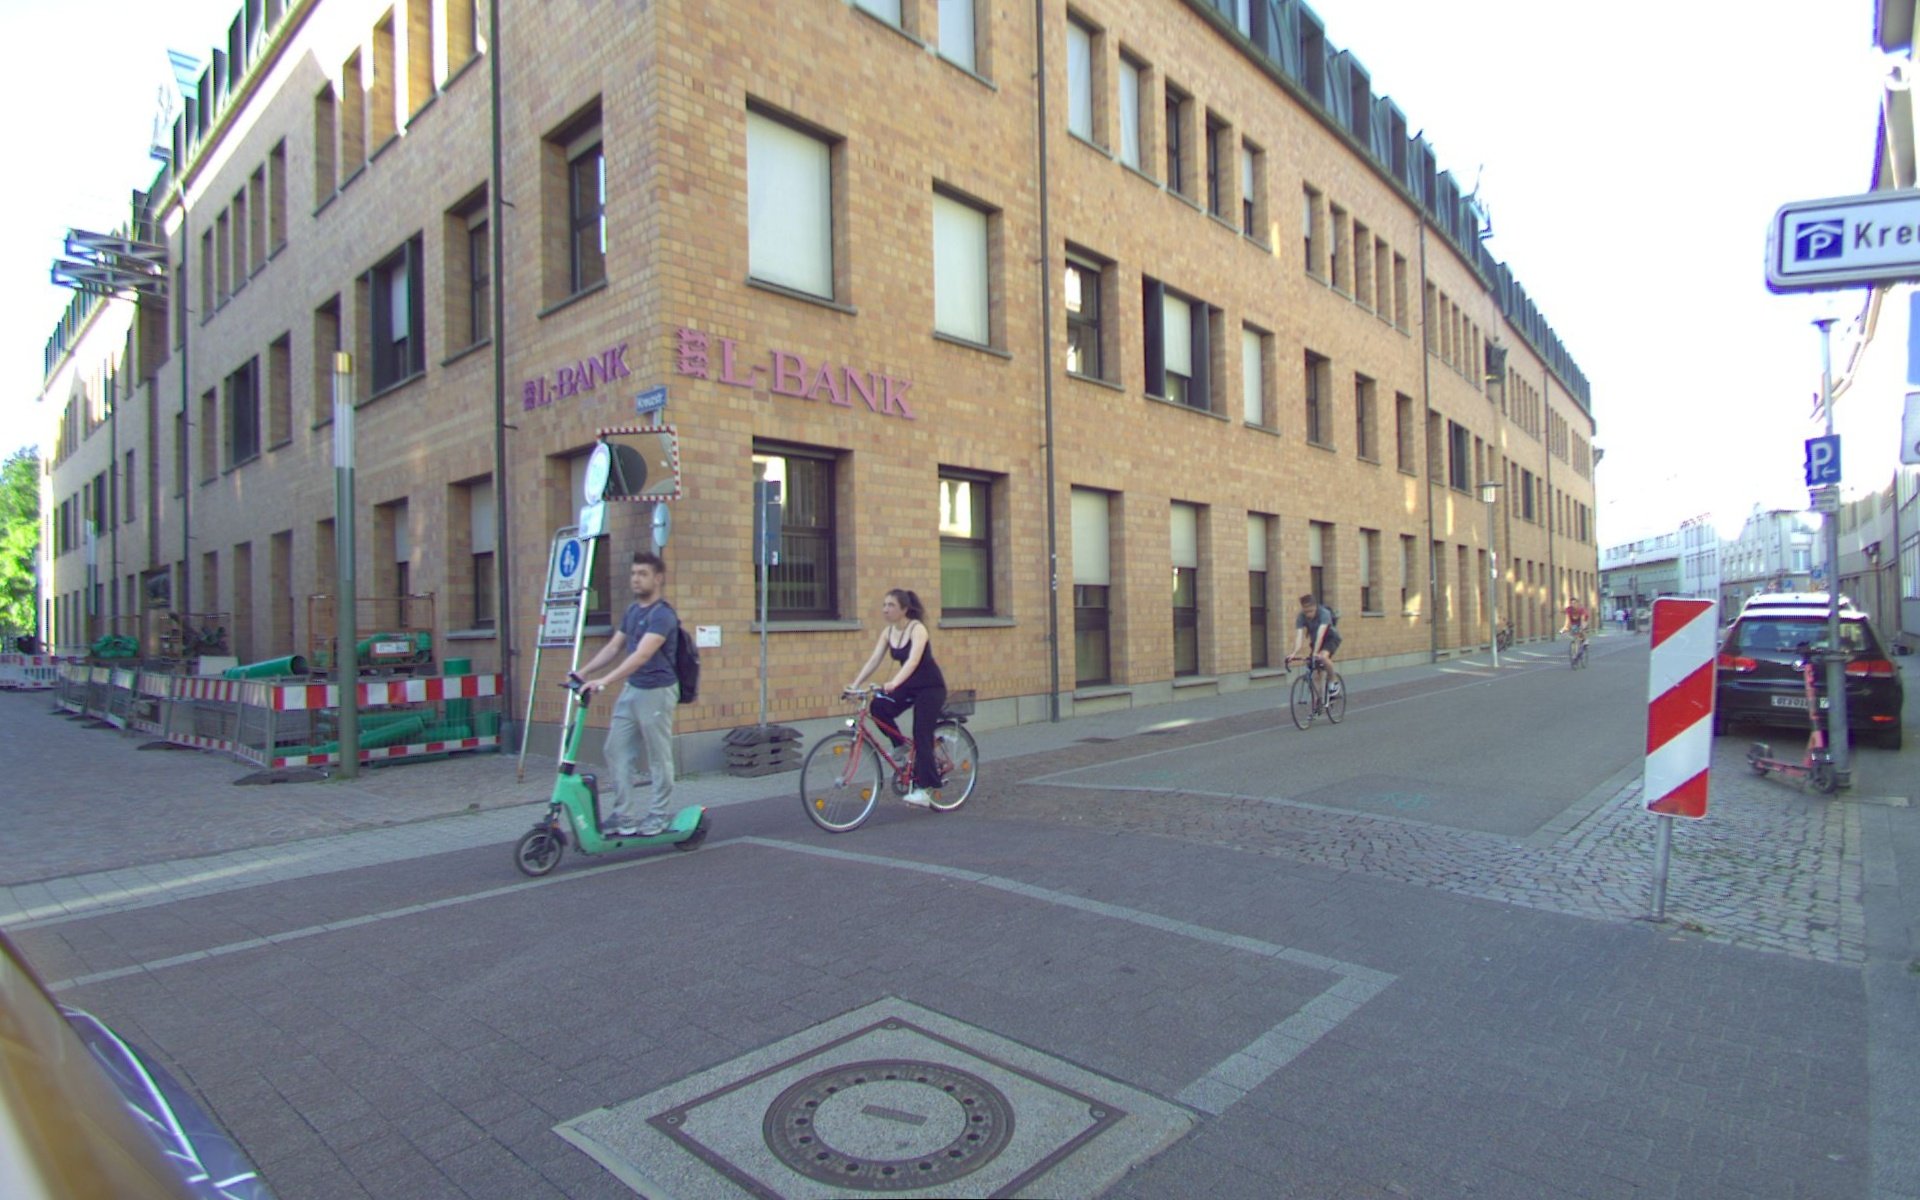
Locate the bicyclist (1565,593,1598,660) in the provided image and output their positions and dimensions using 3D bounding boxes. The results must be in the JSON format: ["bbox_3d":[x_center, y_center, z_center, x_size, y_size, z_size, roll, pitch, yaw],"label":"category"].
[{"bbox_3d":[14.462,0.620,23.541,0.428,1.509,0.864,-5,-4,40],"label":"bicyclist"}]

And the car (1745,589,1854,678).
[{"bbox_3d":[17.969,0.662,21.646,1.673,1.717,3.958,0,0,41],"label":"car"}]

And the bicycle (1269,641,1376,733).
[{"bbox_3d":[4.702,1.089,13.058,0.574,1.059,1.810,-5,-3,44],"label":"bicycle"}]

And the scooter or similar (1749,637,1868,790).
[{"bbox_3d":[7.062,0.916,8.455,0.205,1.193,0.882,-1,-2,1],"label":"scooter or similar"}]

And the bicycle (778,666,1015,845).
[{"bbox_3d":[-0.409,1.056,7.349,0.591,1.060,1.776,-5,-4,41],"label":"bicycle"}]

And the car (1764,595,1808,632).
[{"bbox_3d":[42.207,0.668,51.733,1.692,1.789,3.608,0,0,39],"label":"car"}]

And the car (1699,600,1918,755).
[{"bbox_3d":[9.980,0.758,11.937,1.740,1.497,3.759,0,1,41],"label":"car"}]

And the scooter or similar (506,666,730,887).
[{"bbox_3d":[-2.091,1.034,6.263,1.259,1.195,0.337,1,-5,-40],"label":"scooter or similar"}]

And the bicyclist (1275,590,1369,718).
[{"bbox_3d":[4.669,0.689,13.040,0.650,1.570,1.094,-7,-5,43],"label":"bicyclist"}]

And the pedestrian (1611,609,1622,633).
[{"bbox_3d":[43.068,1.383,66.433,0.543,1.556,0.399,-1,-1,40],"label":"pedestrian"}]

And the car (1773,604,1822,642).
[{"bbox_3d":[39.001,1.046,47.199,1.692,1.692,3.461,0,0,39],"label":"car"}]

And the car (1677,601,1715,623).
[{"bbox_3d":[60.571,0.996,83.362,1.926,1.663,3.801,-2,-1,27],"label":"car"}]

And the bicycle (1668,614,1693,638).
[{"bbox_3d":[34.879,1.261,48.994,0.705,1.112,1.802,-7,-5,42],"label":"bicycle"}]

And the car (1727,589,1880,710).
[{"bbox_3d":[13.344,0.690,16.004,1.673,1.674,4.025,0,0,41],"label":"car"}]

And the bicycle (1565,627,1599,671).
[{"bbox_3d":[14.482,1.127,23.541,0.436,0.964,1.570,-2,-2,40],"label":"bicycle"}]

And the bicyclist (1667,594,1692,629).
[{"bbox_3d":[34.884,0.560,49.086,0.773,1.668,0.943,-6,-5,42],"label":"bicyclist"}]

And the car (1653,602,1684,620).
[{"bbox_3d":[68.120,1.035,97.382,1.926,1.663,3.801,-1,-1,27],"label":"car"}]

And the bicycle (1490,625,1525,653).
[{"bbox_3d":[18.977,1.329,35.031,0.642,0.888,2.524,-1,-1,38],"label":"bicycle"}]

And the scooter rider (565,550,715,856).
[{"bbox_3d":[-1.977,0.600,6.246,0.691,1.739,0.650,1,-3,-40],"label":"scooter rider"}]

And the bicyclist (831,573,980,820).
[{"bbox_3d":[-0.399,0.678,7.415,0.620,1.679,0.812,-6,-4,42],"label":"bicyclist"}]

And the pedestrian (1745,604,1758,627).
[{"bbox_3d":[50.553,0.995,64.620,0.570,1.490,0.468,-2,-2,34],"label":"pedestrian"}]
